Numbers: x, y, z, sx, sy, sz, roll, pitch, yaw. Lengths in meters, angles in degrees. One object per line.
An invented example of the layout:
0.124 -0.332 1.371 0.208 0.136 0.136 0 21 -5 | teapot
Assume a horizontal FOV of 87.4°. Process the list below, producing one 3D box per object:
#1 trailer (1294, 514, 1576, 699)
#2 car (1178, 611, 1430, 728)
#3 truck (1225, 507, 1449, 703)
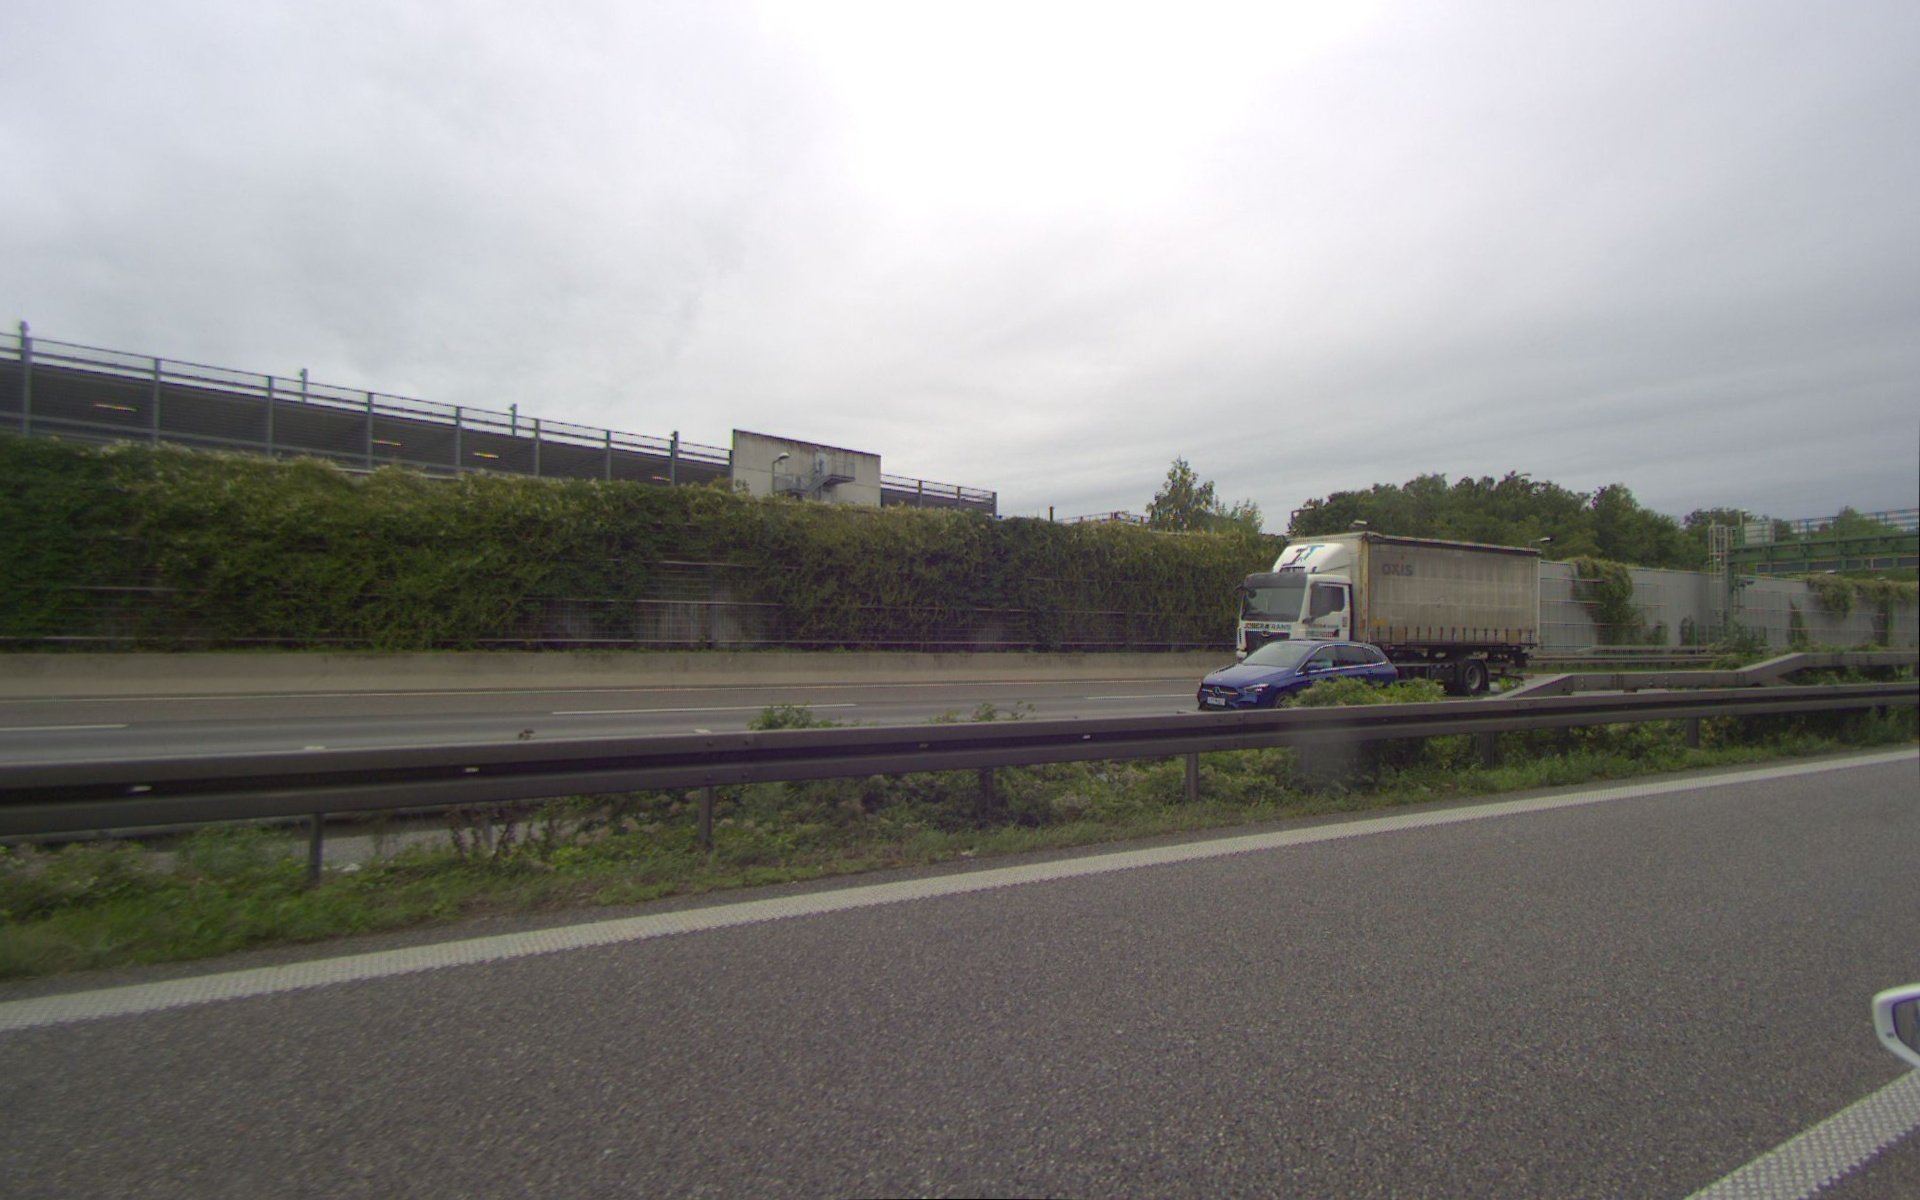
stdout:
13.249 0.277 27.738 8.469 4.503 2.656 2 -1 -29 | trailer
6.803 1.317 19.726 4.852 2.040 1.984 3 -1 -30 | car
9.669 0.192 25.680 5.219 4.532 2.637 2 -1 -29 | truck
